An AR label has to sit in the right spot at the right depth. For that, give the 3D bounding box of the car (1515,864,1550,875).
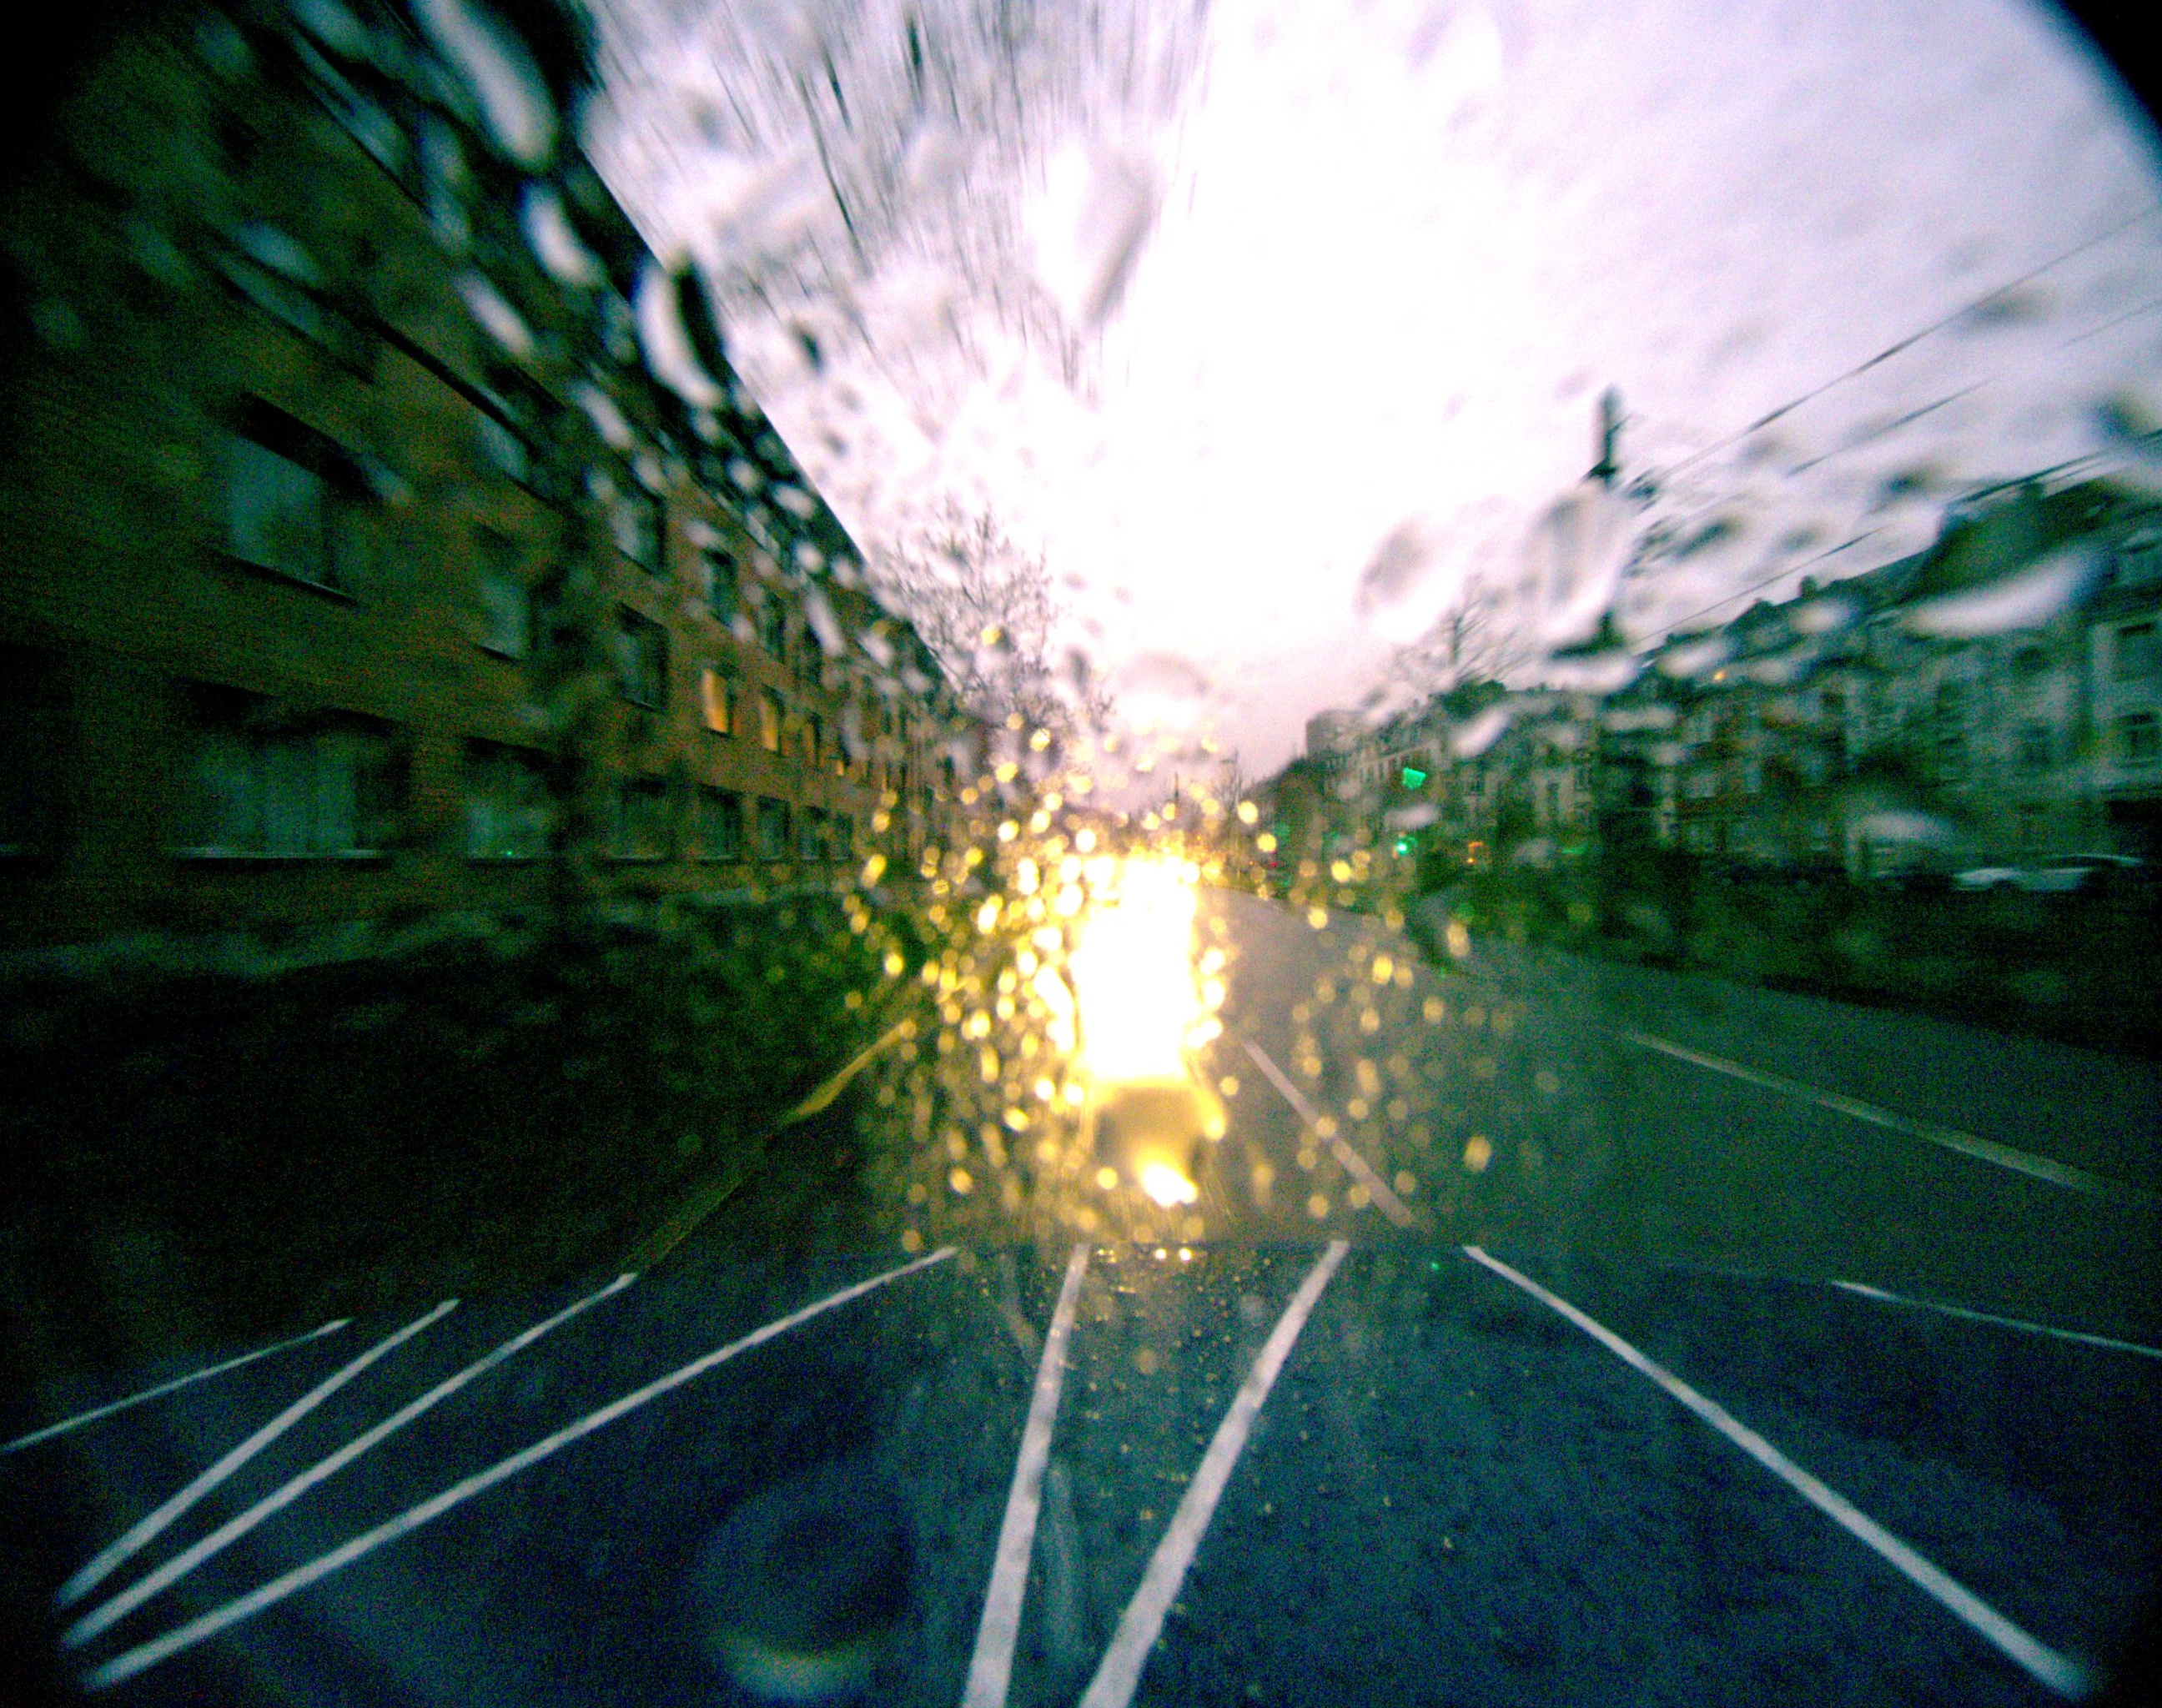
[{"bbox_3d":[47.399,1.641,79.756,2.897,1.068,1.331,0,0,0],"label":"car"}]

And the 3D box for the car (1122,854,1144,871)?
[{"bbox_3d":[5.660,0.945,82.995,1.999,1.745,4.000,0,0,-1],"label":"car"}]

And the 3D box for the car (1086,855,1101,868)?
[{"bbox_3d":[1.732,1.025,103.520,1.998,1.693,4.000,0,0,0],"label":"car"}]

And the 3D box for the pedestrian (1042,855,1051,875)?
[{"bbox_3d":[-2.927,0.917,63.983,0.506,1.732,0.656,0,0,-33],"label":"pedestrian"}]

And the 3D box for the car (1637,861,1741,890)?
[{"bbox_3d":[30.272,1.041,38.006,3.988,1.324,2.004,0,0,36],"label":"car"}]

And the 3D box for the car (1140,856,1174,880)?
[{"bbox_3d":[5.062,0.917,50.966,1.814,1.487,4.053,-1,0,0],"label":"car"}]

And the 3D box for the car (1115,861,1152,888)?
[{"bbox_3d":[2.965,1.154,43.541,1.814,1.384,4.053,-1,0,0],"label":"car"}]

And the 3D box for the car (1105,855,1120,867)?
[{"bbox_3d":[4.678,1.061,113.227,1.999,1.745,4.000,0,0,-1],"label":"car"}]

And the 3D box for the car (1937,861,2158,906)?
[{"bbox_3d":[30.982,0.901,24.578,3.988,1.324,2.004,0,0,35],"label":"car"}]

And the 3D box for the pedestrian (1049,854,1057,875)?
[{"bbox_3d":[-2.460,0.941,66.358,0.506,1.814,0.656,0,0,-26],"label":"pedestrian"}]

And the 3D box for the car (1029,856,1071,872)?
[{"bbox_3d":[-3.041,0.966,75.272,3.997,1.546,1.742,1,0,1],"label":"car"}]

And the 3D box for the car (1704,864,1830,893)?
[{"bbox_3d":[29.912,1.020,33.317,3.988,1.162,2.004,0,0,38],"label":"car"}]

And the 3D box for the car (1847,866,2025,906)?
[{"bbox_3d":[31.232,1.136,27.959,3.988,1.324,2.004,0,0,36],"label":"car"}]
